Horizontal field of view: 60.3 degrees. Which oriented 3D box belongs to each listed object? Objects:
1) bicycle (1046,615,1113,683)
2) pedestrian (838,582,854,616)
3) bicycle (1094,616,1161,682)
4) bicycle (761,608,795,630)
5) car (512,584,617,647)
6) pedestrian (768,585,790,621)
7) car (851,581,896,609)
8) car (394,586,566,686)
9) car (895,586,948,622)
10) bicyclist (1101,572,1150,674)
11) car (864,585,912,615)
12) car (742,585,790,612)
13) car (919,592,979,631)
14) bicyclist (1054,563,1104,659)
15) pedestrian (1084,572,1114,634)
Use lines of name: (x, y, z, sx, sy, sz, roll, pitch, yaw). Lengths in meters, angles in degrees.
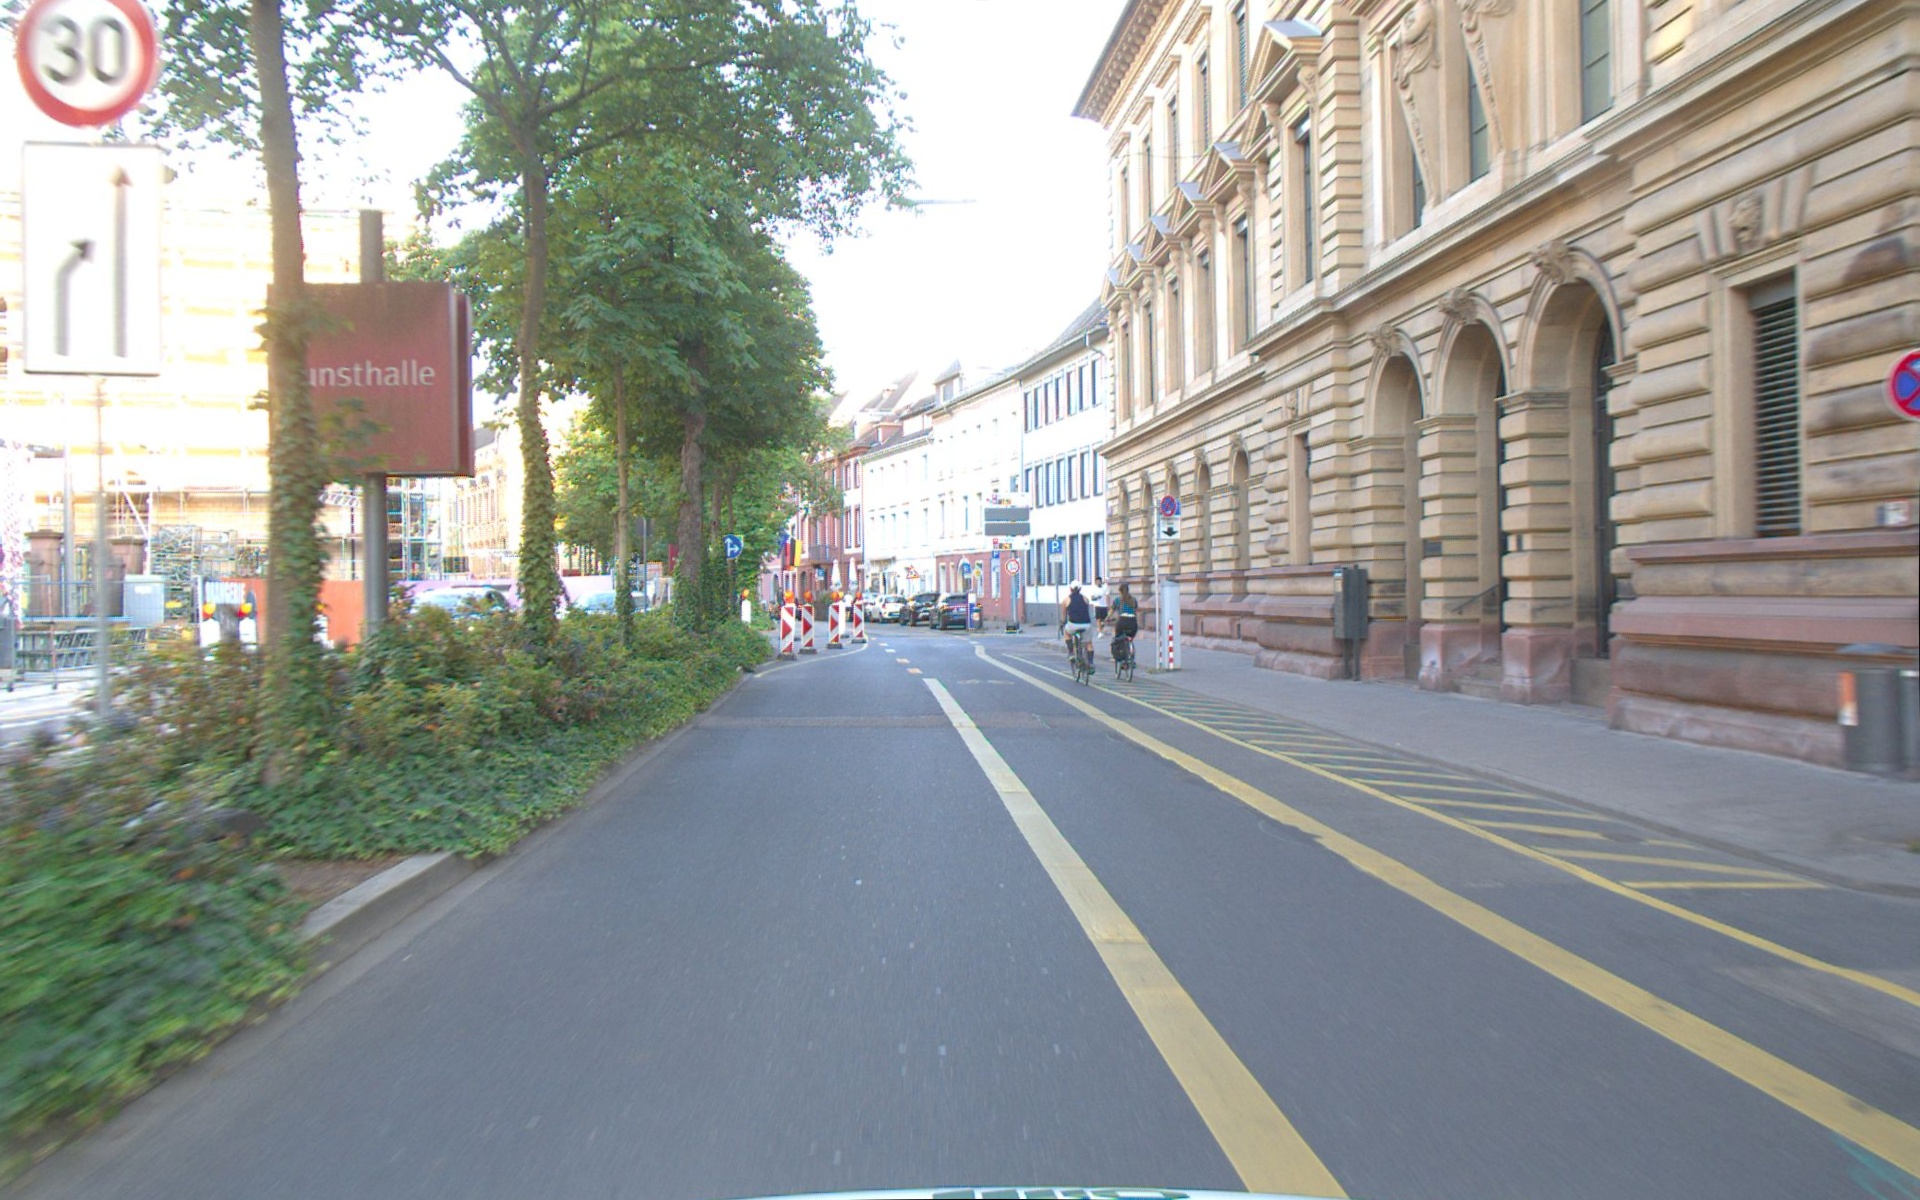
bicycle: (2.005, 0.816, 27.960, 0.657, 1.089, 1.896, 1, 0, -11)
pedestrian: (-6.457, -0.058, 93.868, 0.814, 1.877, 0.958, 0, 0, 0)
bicycle: (2.955, 0.842, 29.413, 0.640, 1.089, 2.253, 1, 0, -8)
bicycle: (-8.865, 0.924, 80.601, 0.745, 1.055, 2.121, -1, 0, 20)
car: (-10.728, 0.392, 45.167, 1.805, 1.578, 4.175, -2, 0, 0)
pedestrian: (-8.806, 0.151, 80.348, 0.720, 1.703, 0.895, -1, 0, 20)
car: (-4.963, -0.289, 94.229, 1.783, 1.587, 3.848, 0, 0, -16)
car: (-9.065, 0.614, 31.643, 1.804, 1.703, 4.557, -2, 0, 1)
car: (-1.919, 0.196, 81.736, 1.782, 1.713, 3.985, 0, 0, -15)
bicyclist: (2.950, 0.400, 29.484, 0.637, 1.791, 0.863, 1, 0, -9)
car: (-3.921, 0.013, 89.831, 1.783, 1.587, 3.848, 0, 0, -16)
car: (-11.932, -0.103, 101.626, 1.790, 1.587, 3.833, 0, 0, -26)
car: (-0.510, 0.493, 73.860, 1.782, 1.712, 3.904, 0, 0, -14)
bicyclist: (2.013, 0.187, 27.951, 0.657, 1.593, 0.697, 1, 0, -11)
pedestrian: (4.102, 0.077, 48.803, 0.800, 1.796, 1.038, 0, 0, 0)
